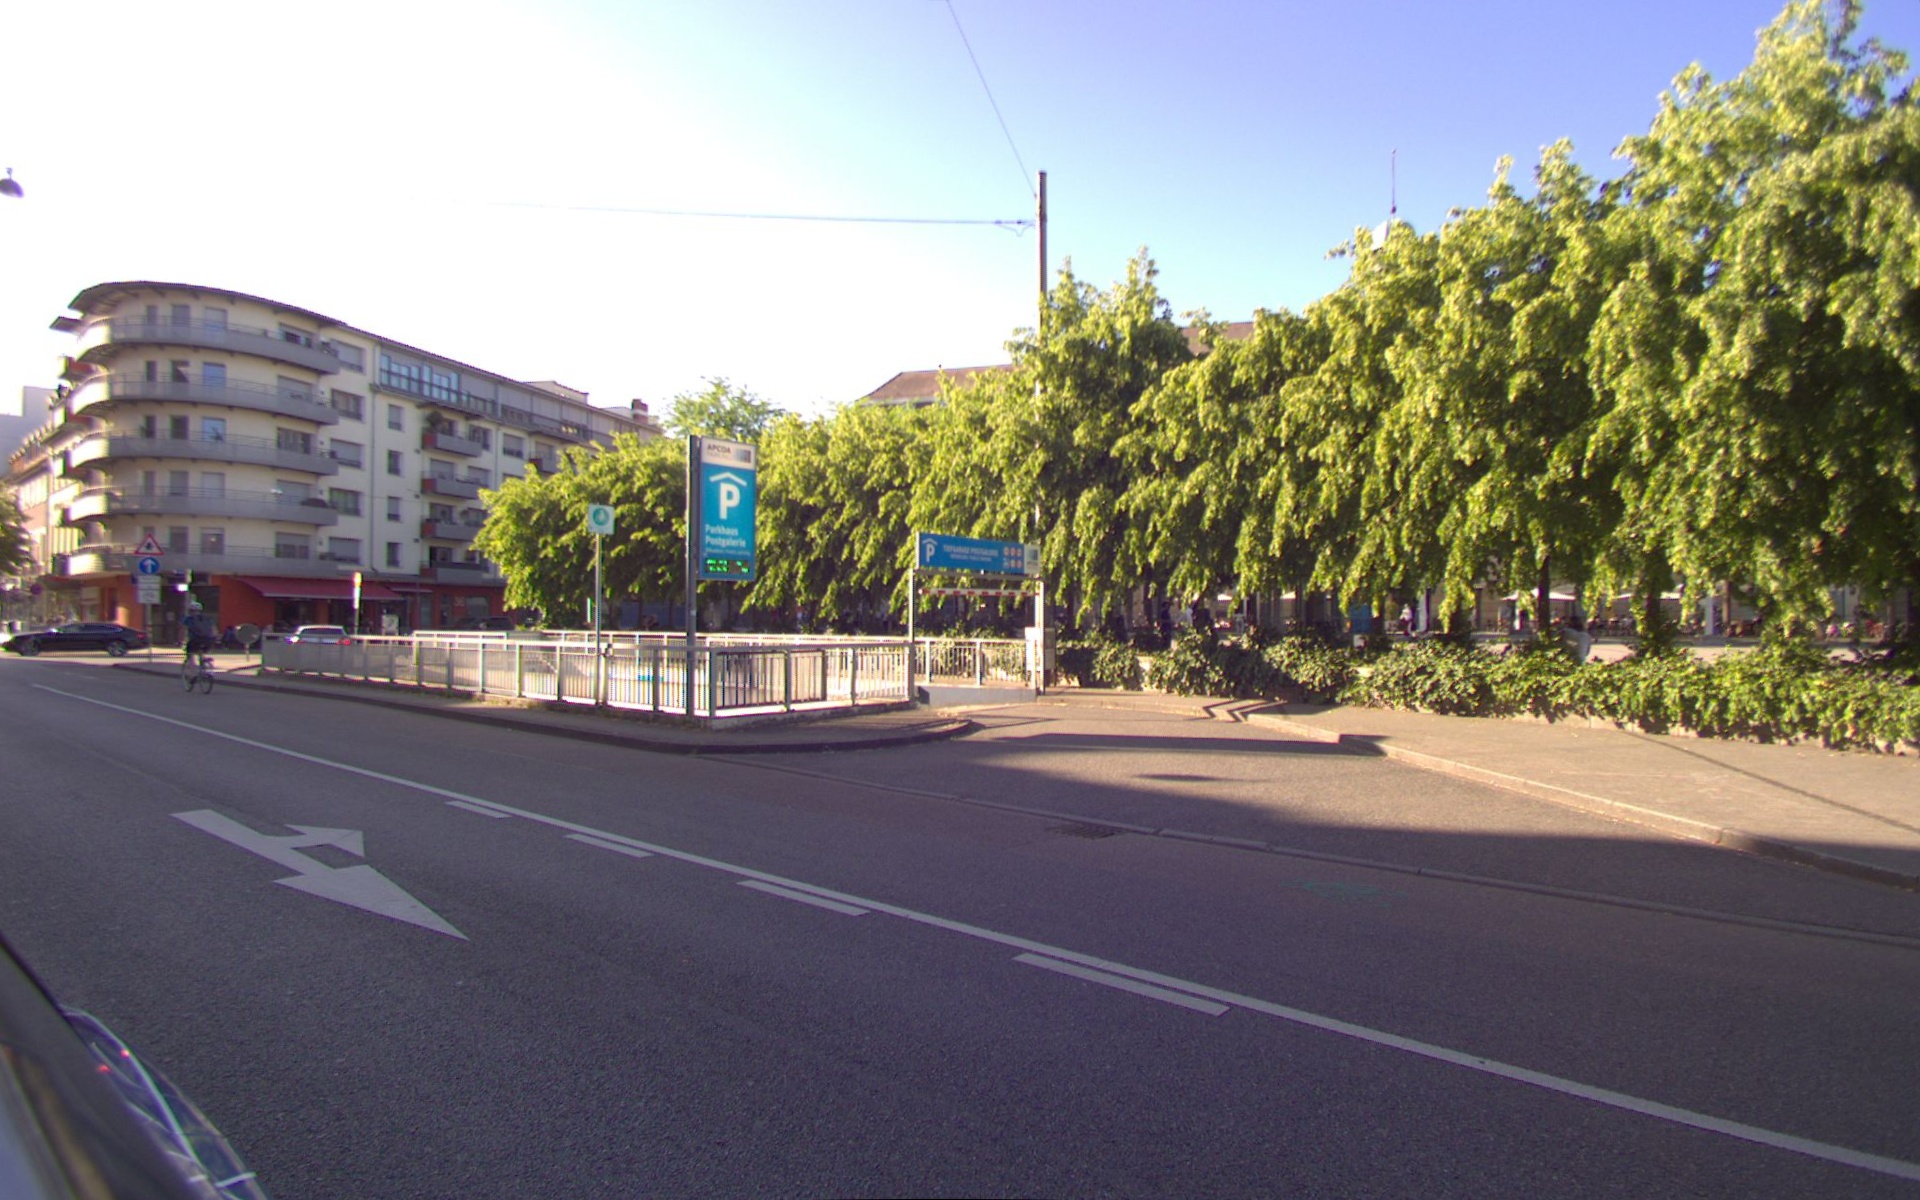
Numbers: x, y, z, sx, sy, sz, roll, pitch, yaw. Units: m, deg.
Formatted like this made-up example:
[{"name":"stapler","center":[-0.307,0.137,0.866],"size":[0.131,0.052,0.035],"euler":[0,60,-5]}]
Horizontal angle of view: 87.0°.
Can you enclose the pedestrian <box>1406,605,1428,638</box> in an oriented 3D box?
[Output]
[{"name":"pedestrian","center":[21.909,1.034,48.505],"size":[0.672,1.542,0.696],"euler":[-1,0,-18]}]

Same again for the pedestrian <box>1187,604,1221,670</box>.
[{"name":"pedestrian","center":[5.707,0.853,23.626],"size":[0.688,1.511,0.680],"euler":[-1,0,19]}]

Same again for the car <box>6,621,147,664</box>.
[{"name":"car","center":[-35.878,1.691,41.266],"size":[4.180,1.542,1.681],"euler":[-1,0,-36]}]

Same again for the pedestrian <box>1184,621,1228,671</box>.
[{"name":"pedestrian","center":[5.450,1.010,22.433],"size":[0.682,1.079,0.686],"euler":[-1,0,-13]}]

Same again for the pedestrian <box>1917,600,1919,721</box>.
[{"name":"pedestrian","center":[12.278,0.759,12.358],"size":[0.691,1.532,0.677],"euler":[-1,0,30]}]

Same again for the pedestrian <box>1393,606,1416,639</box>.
[{"name":"pedestrian","center":[20.928,1.047,47.658],"size":[0.672,1.536,0.696],"euler":[-1,0,-19]}]

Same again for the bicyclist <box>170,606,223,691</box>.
[{"name":"bicyclist","center":[-16.018,0.994,21.230],"size":[0.808,1.722,0.694],"euler":[-1,0,37]}]

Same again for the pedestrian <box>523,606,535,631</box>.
[{"name":"pedestrian","center":[-33.132,1.421,77.767],"size":[0.735,1.857,0.686],"euler":[-1,0,-18]}]

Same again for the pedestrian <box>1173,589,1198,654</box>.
[{"name":"pedestrian","center":[5.667,0.534,25.427],"size":[0.522,1.594,0.680],"euler":[-1,0,19]}]

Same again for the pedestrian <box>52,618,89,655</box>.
[{"name":"pedestrian","center":[-42.663,1.751,48.557],"size":[1.076,1.732,1.058],"euler":[-1,0,30]}]

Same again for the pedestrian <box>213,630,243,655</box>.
[{"name":"pedestrian","center":[-36.821,2.125,50.898],"size":[0.827,1.207,0.931],"euler":[-1,0,16]}]

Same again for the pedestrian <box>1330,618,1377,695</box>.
[{"name":"pedestrian","center":[7.521,1.061,19.346],"size":[0.622,1.409,0.644],"euler":[-1,0,44]}]

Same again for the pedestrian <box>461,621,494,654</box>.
[{"name":"pedestrian","center":[-25.729,1.994,53.968],"size":[1.253,1.678,1.141],"euler":[-1,0,-44]}]

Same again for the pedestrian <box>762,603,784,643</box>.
[{"name":"pedestrian","center":[-9.035,1.100,48.892],"size":[0.681,1.877,0.741],"euler":[-1,0,27]}]

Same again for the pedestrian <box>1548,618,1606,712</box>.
[{"name":"pedestrian","center":[9.804,1.012,16.091],"size":[0.611,1.447,0.588],"euler":[-1,0,14]}]

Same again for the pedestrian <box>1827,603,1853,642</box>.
[{"name":"pedestrian","center":[34.575,0.877,39.755],"size":[0.740,1.542,0.684],"euler":[-1,0,40]}]

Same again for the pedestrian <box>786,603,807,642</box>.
[{"name":"pedestrian","center":[-8.023,1.097,49.677],"size":[0.681,1.857,0.741],"euler":[-1,0,27]}]

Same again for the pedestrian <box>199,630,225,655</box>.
[{"name":"pedestrian","center":[-37.641,2.136,50.942],"size":[0.882,1.207,0.772],"euler":[-1,0,30]}]

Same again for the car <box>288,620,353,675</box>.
[{"name":"car","center":[-20.120,1.430,31.842],"size":[1.611,1.542,3.919],"euler":[-1,0,-33]}]

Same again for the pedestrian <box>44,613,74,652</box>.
[{"name":"pedestrian","center":[-45.873,1.663,51.521],"size":[0.790,1.934,0.978],"euler":[-1,0,37]}]

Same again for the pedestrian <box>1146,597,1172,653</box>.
[{"name":"pedestrian","center":[5.046,0.628,25.608],"size":[0.545,1.385,0.680],"euler":[-1,0,19]}]

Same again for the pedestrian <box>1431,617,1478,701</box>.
[{"name":"pedestrian","center":[8.748,1.026,17.899],"size":[0.621,1.447,0.645],"euler":[-1,0,39]}]

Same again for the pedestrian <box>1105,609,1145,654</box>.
[{"name":"pedestrian","center":[4.078,0.765,24.960],"size":[0.682,1.079,0.686],"euler":[-1,0,-29]}]

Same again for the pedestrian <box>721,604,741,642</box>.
[{"name":"pedestrian","center":[-11.339,1.144,50.189],"size":[0.679,1.857,0.743],"euler":[-1,0,19]}]

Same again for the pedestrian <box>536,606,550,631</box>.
[{"name":"pedestrian","center":[-31.332,1.398,76.072],"size":[0.684,1.857,0.737],"euler":[-1,0,41]}]

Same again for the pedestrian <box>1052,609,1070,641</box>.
[{"name":"pedestrian","center":[4.470,1.105,44.818],"size":[0.684,1.385,0.684],"euler":[-1,0,1]}]

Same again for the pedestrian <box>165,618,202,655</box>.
[{"name":"pedestrian","center":[-37.864,1.762,49.367],"size":[0.950,1.762,1.060],"euler":[-1,0,3]}]

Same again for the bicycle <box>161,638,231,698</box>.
[{"name":"bicycle","center":[-16.038,1.408,21.221],"size":[1.954,1.171,0.610],"euler":[0,-3,37]}]

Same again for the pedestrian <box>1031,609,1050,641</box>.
[{"name":"pedestrian","center":[3.575,1.117,44.855],"size":[0.752,1.385,0.684],"euler":[-1,0,1]}]
